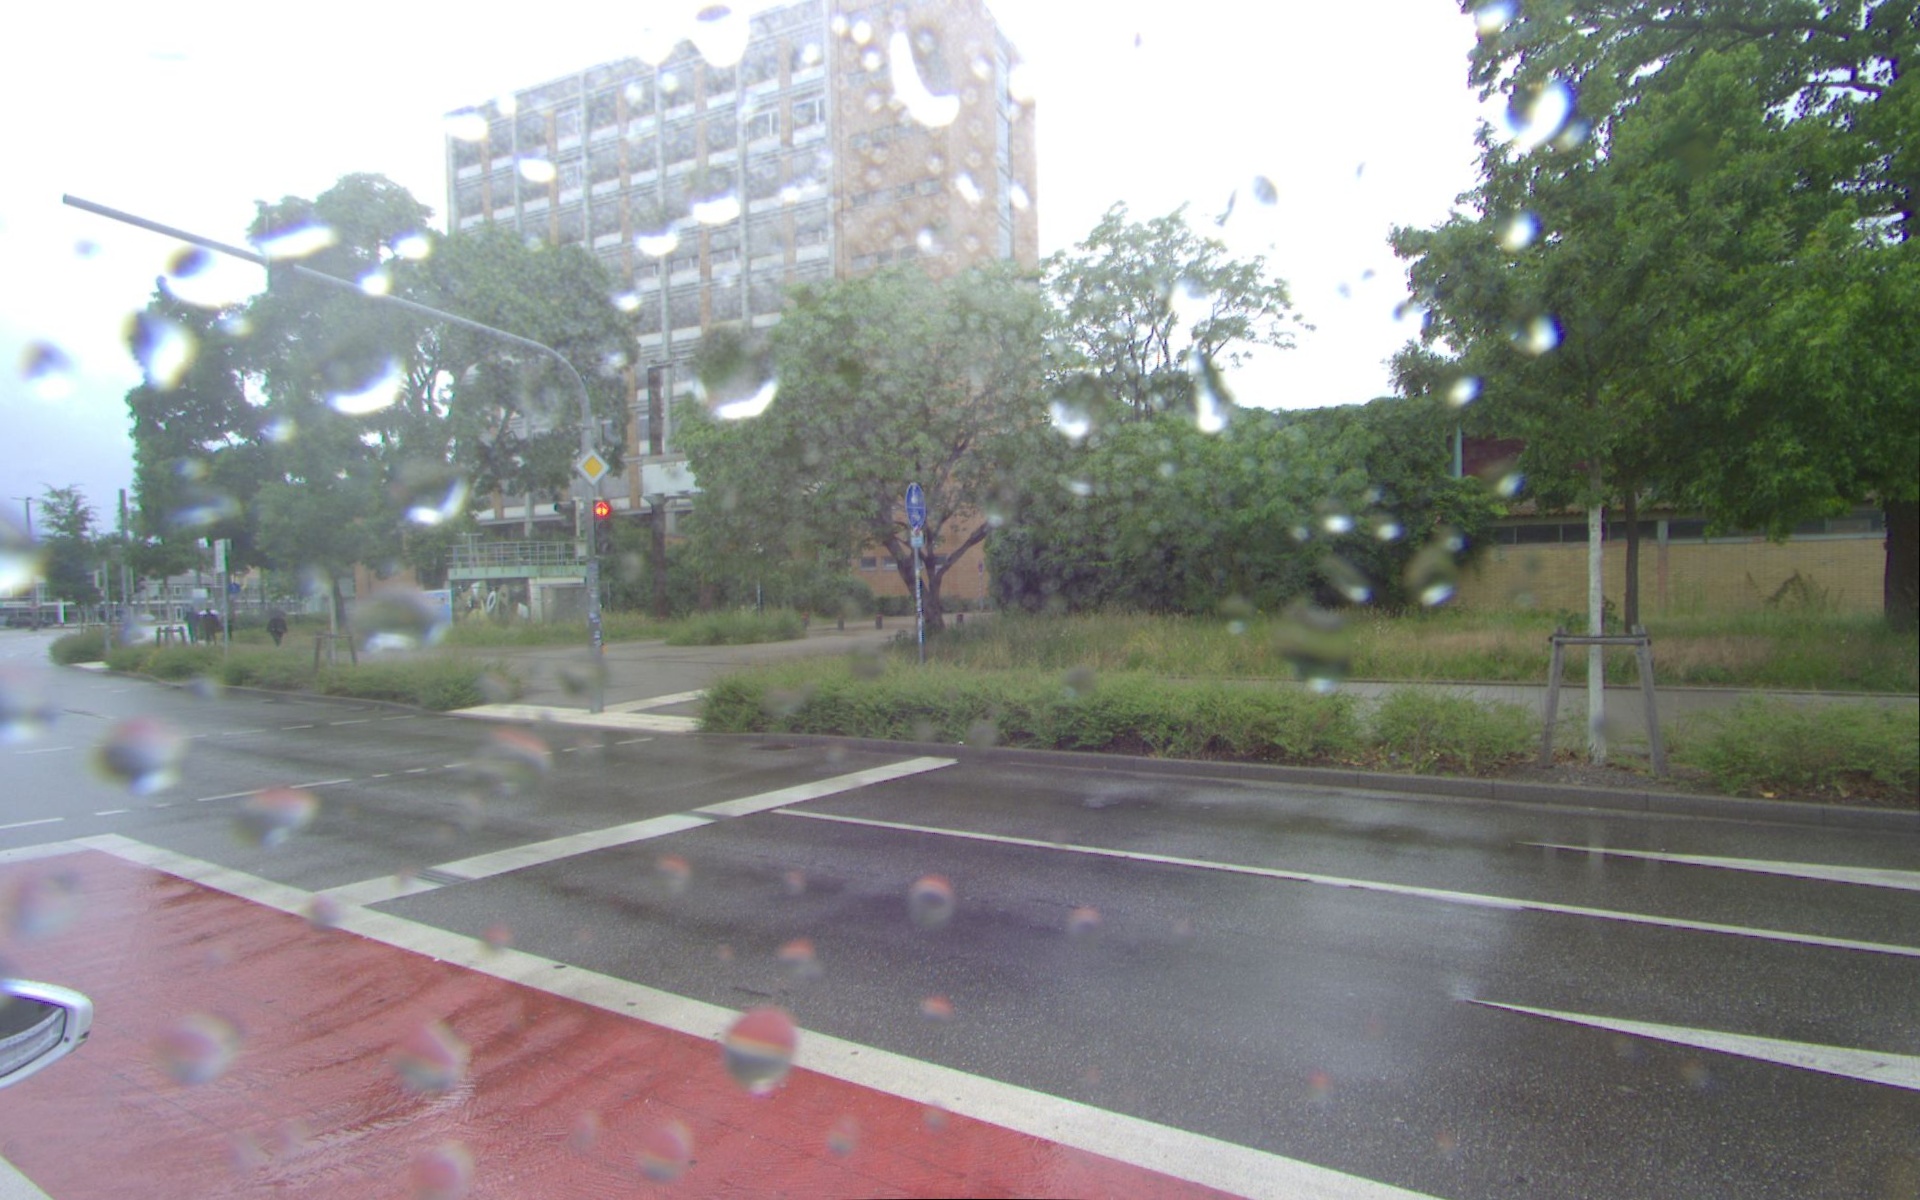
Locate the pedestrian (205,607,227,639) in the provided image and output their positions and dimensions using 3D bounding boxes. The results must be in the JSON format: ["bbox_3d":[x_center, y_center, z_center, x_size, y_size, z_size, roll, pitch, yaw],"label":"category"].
[{"bbox_3d":[-38.012,1.175,51.171,0.926,1.609,0.699,0,1,43],"label":"pedestrian"}]

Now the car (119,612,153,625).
[{"bbox_3d":[-113.683,2.508,138.265,1.762,1.665,4.155,-1,0,-10],"label":"car"}]

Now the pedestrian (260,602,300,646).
[{"bbox_3d":[-25.778,0.909,37.954,0.926,1.609,1.017,0,1,42],"label":"pedestrian"}]

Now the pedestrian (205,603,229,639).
[{"bbox_3d":[-34.233,0.958,46.151,0.926,1.609,0.699,0,1,43],"label":"pedestrian"}]

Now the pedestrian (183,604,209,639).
[{"bbox_3d":[-34.880,0.974,45.705,0.926,1.609,0.749,0,1,43],"label":"pedestrian"}]

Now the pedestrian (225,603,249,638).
[{"bbox_3d":[-33.635,0.943,46.592,0.926,1.609,0.699,0,1,43],"label":"pedestrian"}]
